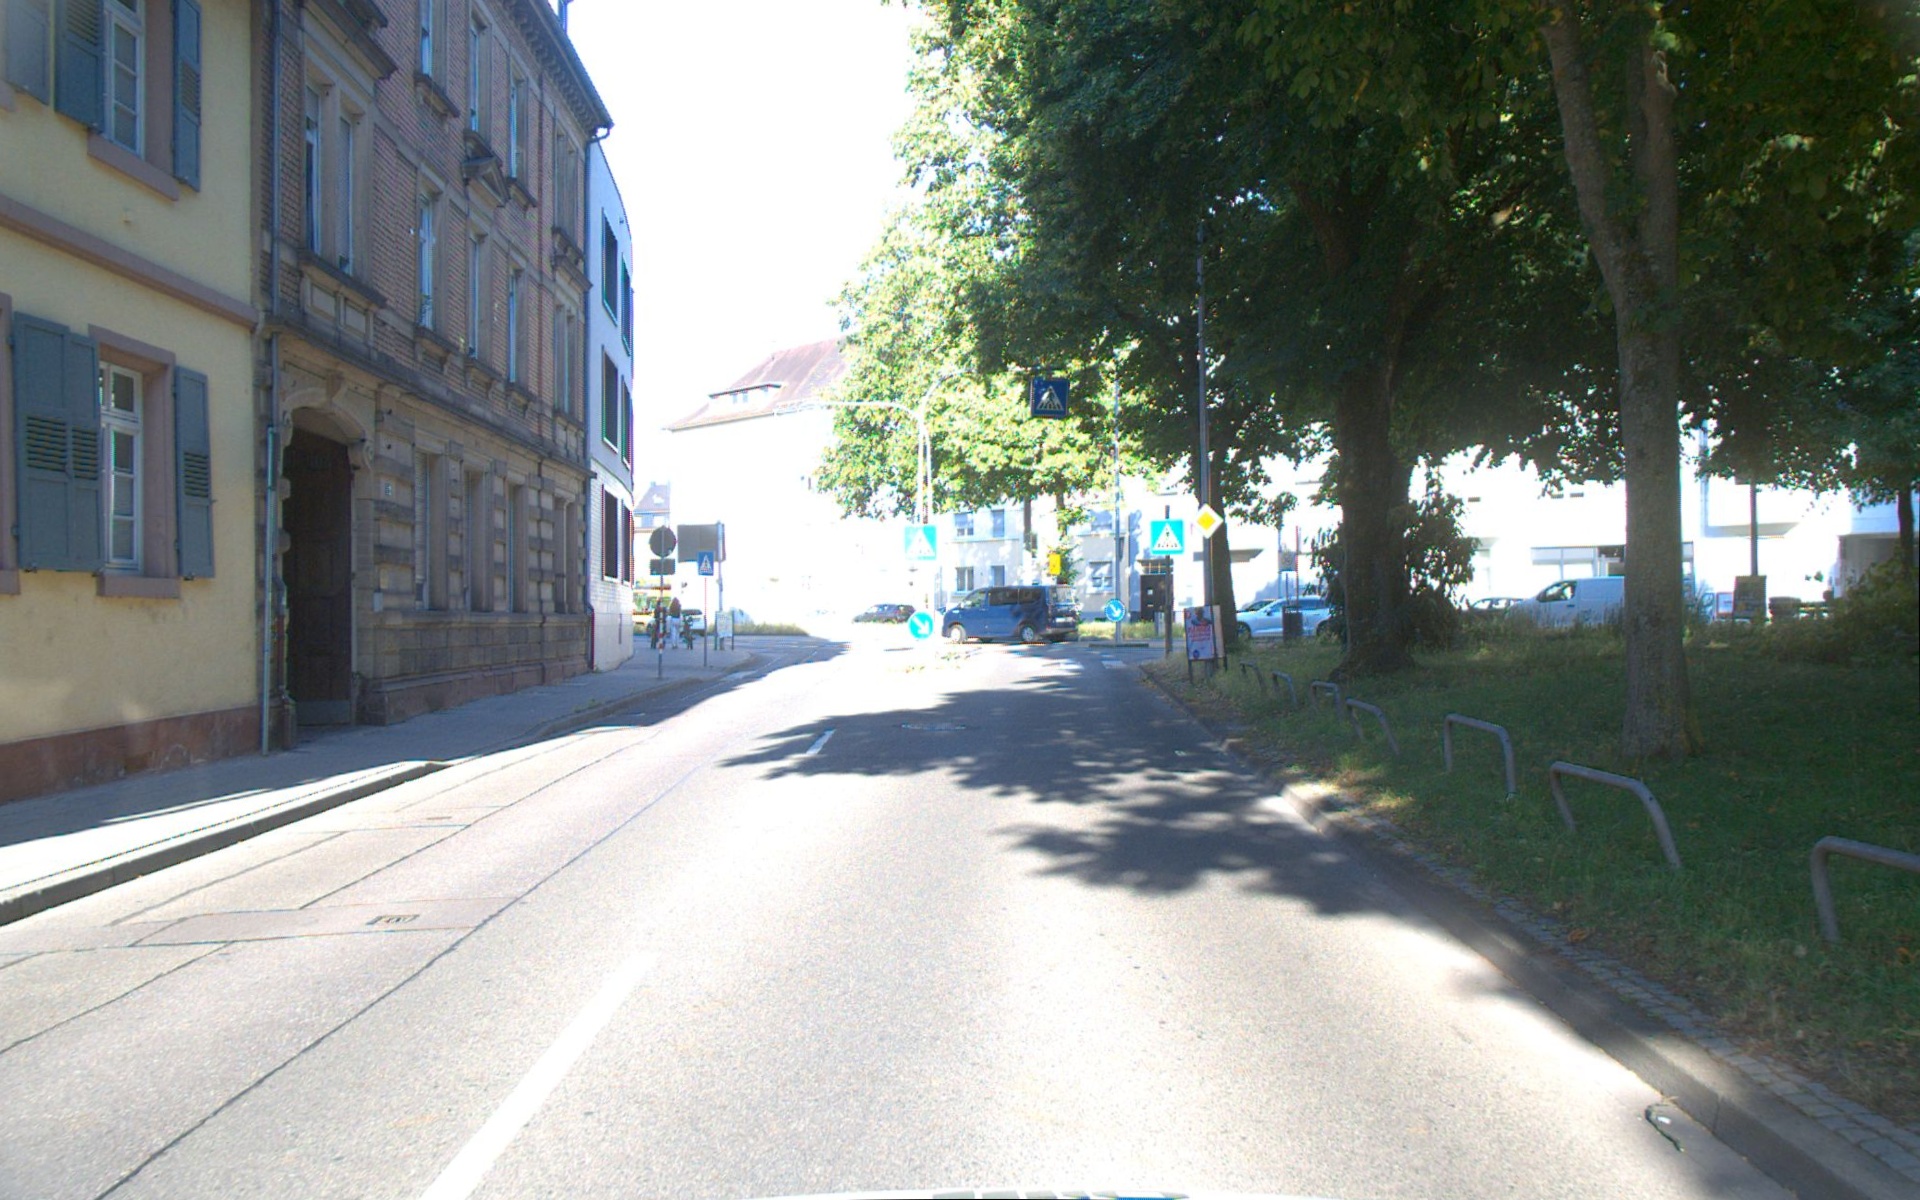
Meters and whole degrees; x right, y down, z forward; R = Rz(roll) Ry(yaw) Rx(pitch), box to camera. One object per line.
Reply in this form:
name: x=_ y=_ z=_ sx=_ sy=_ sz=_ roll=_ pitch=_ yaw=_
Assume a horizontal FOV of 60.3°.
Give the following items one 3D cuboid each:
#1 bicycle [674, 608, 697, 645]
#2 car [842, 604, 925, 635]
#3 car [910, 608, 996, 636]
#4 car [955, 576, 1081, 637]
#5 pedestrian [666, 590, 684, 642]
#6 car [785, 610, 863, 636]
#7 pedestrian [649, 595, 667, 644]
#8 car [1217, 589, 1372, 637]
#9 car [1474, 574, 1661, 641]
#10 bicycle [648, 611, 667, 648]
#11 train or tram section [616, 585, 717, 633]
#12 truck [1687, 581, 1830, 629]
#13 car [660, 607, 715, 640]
bicycle: x=-9.015 y=0.864 z=54.343 sx=0.433 sy=1.199 sz=1.956 roll=1 pitch=0 yaw=-18
car: x=-4.202 y=1.048 z=90.095 sx=1.985 sy=1.599 sz=4.565 roll=-1 pitch=-1 yaw=-44
car: x=-0.392 y=1.118 z=85.973 sx=1.985 sy=1.411 sz=4.373 roll=-1 pitch=0 yaw=-44
car: x=1.996 y=0.220 z=57.246 sx=3.921 sy=2.049 sz=1.992 roll=0 pitch=-1 yaw=37
pedestrian: x=-9.369 y=0.522 z=54.356 sx=0.467 sy=1.676 sz=0.599 roll=-1 pitch=-1 yaw=-19
car: x=-7.736 y=1.311 z=93.876 sx=4.368 sy=1.411 sz=1.988 roll=0 pitch=0 yaw=43
pedestrian: x=-9.944 y=0.651 z=54.436 sx=0.467 sy=1.592 sz=0.599 roll=2 pitch=-1 yaw=-19
car: x=10.808 y=0.404 z=53.377 sx=4.659 sy=1.489 sz=1.855 roll=0 pitch=0 yaw=22
car: x=17.772 y=0.214 z=48.466 sx=4.803 sy=1.886 sz=1.993 roll=0 pitch=0 yaw=35
bicycle: x=-9.892 y=0.953 z=54.079 sx=0.370 sy=1.187 sz=1.828 roll=-2 pitch=0 yaw=-17
train or tram section: x=-23.101 y=0.715 z=130.933 sx=2.720 sy=3.618 sz=9.912 roll=-1 pitch=-1 yaw=25
truck: x=27.378 y=0.162 z=56.761 sx=1.985 sy=1.613 sz=4.031 roll=0 pitch=0 yaw=-44
car: x=-13.490 y=1.144 z=81.634 sx=1.931 sy=1.531 sz=3.661 roll=-1 pitch=0 yaw=-22
